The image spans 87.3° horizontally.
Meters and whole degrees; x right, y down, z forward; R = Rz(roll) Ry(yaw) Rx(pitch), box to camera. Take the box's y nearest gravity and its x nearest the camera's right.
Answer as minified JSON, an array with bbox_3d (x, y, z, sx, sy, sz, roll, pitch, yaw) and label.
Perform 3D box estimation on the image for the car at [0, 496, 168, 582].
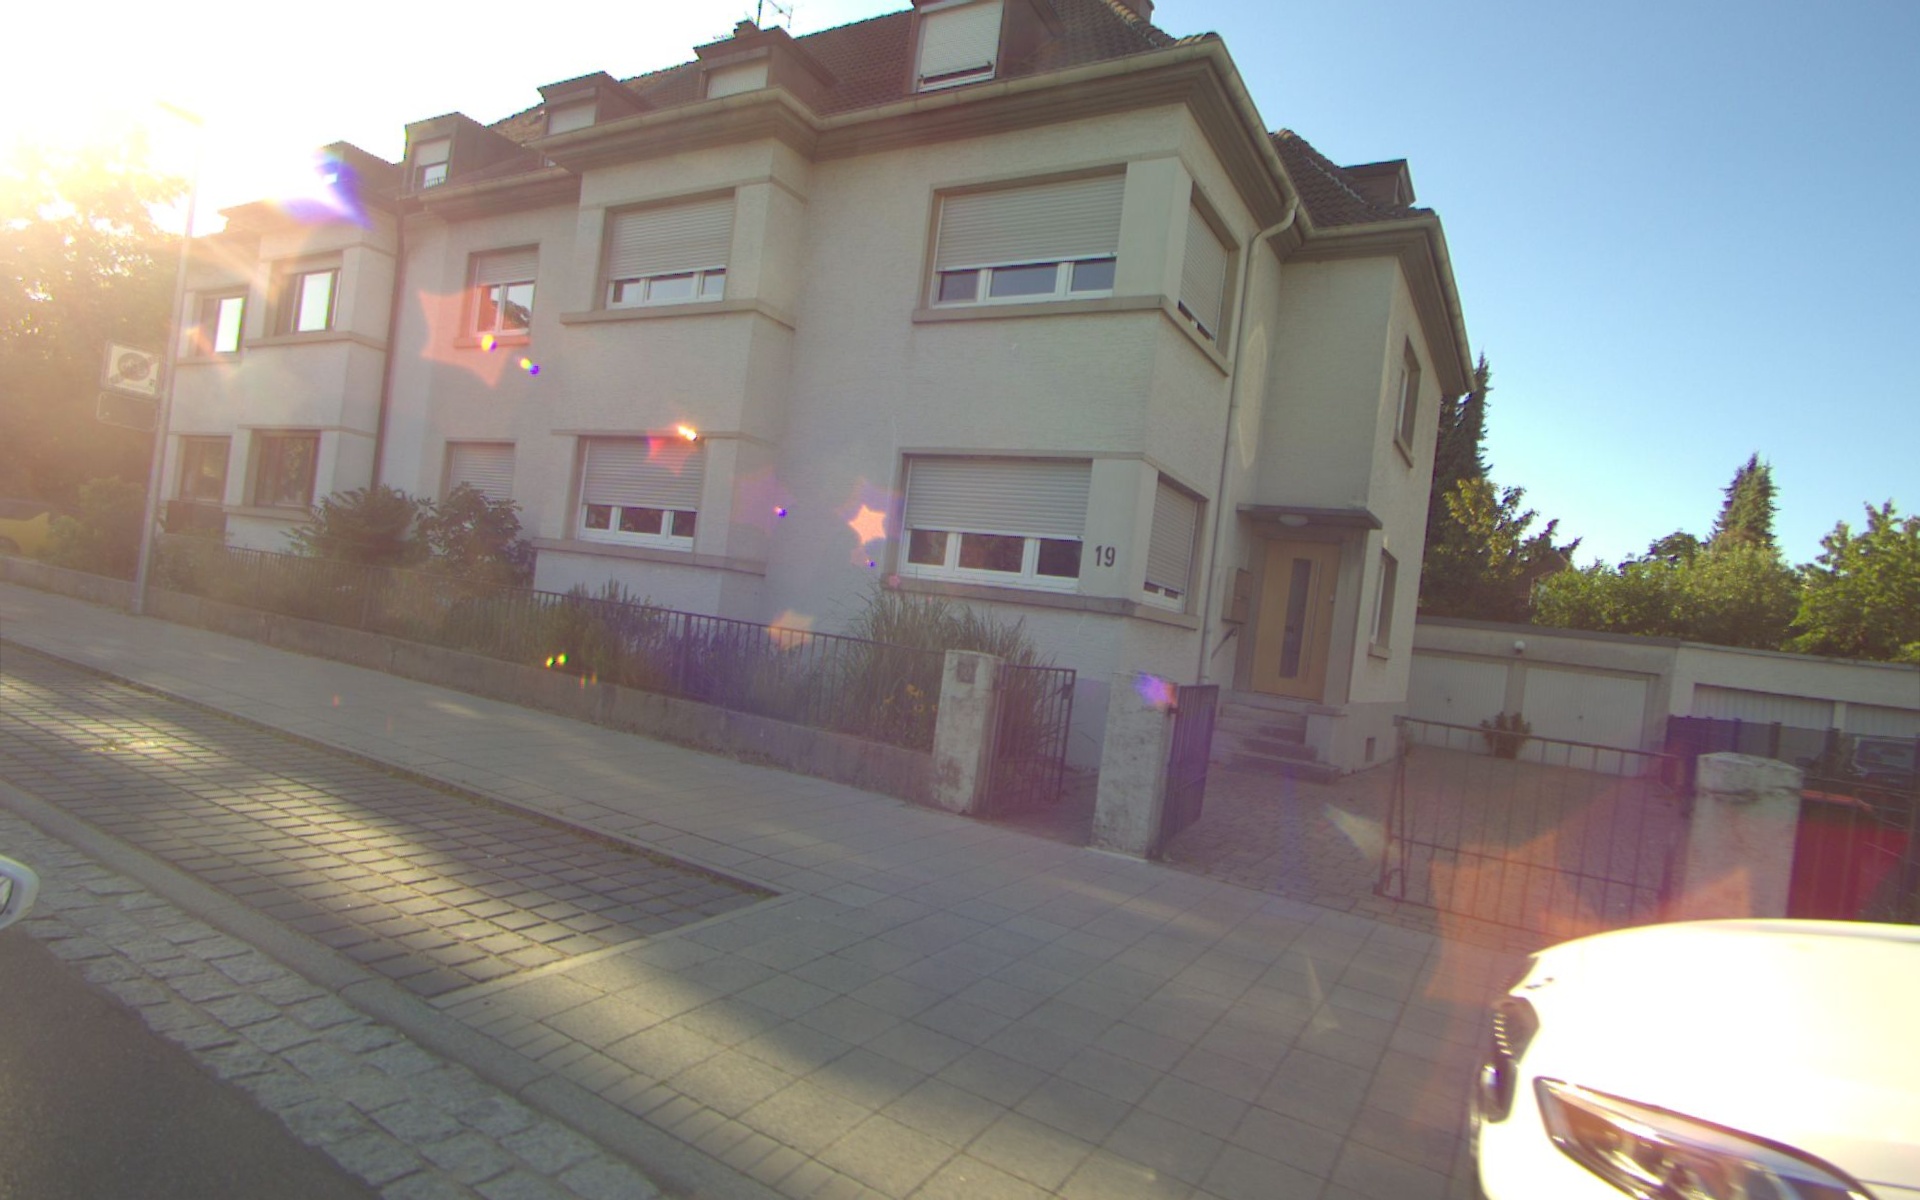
[{"bbox_3d":[-19.490,-1.343,21.458,1.751,1.515,3.637,7,0,31],"label":"car"}]

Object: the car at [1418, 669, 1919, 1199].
[{"bbox_3d":[3.019,1.159,1.436,4.162,1.526,1.784,7,1,30],"label":"car"}]

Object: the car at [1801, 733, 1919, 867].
[{"bbox_3d":[12.025,2.521,12.765,1.639,1.306,3.823,7,-1,35],"label":"car"}]
